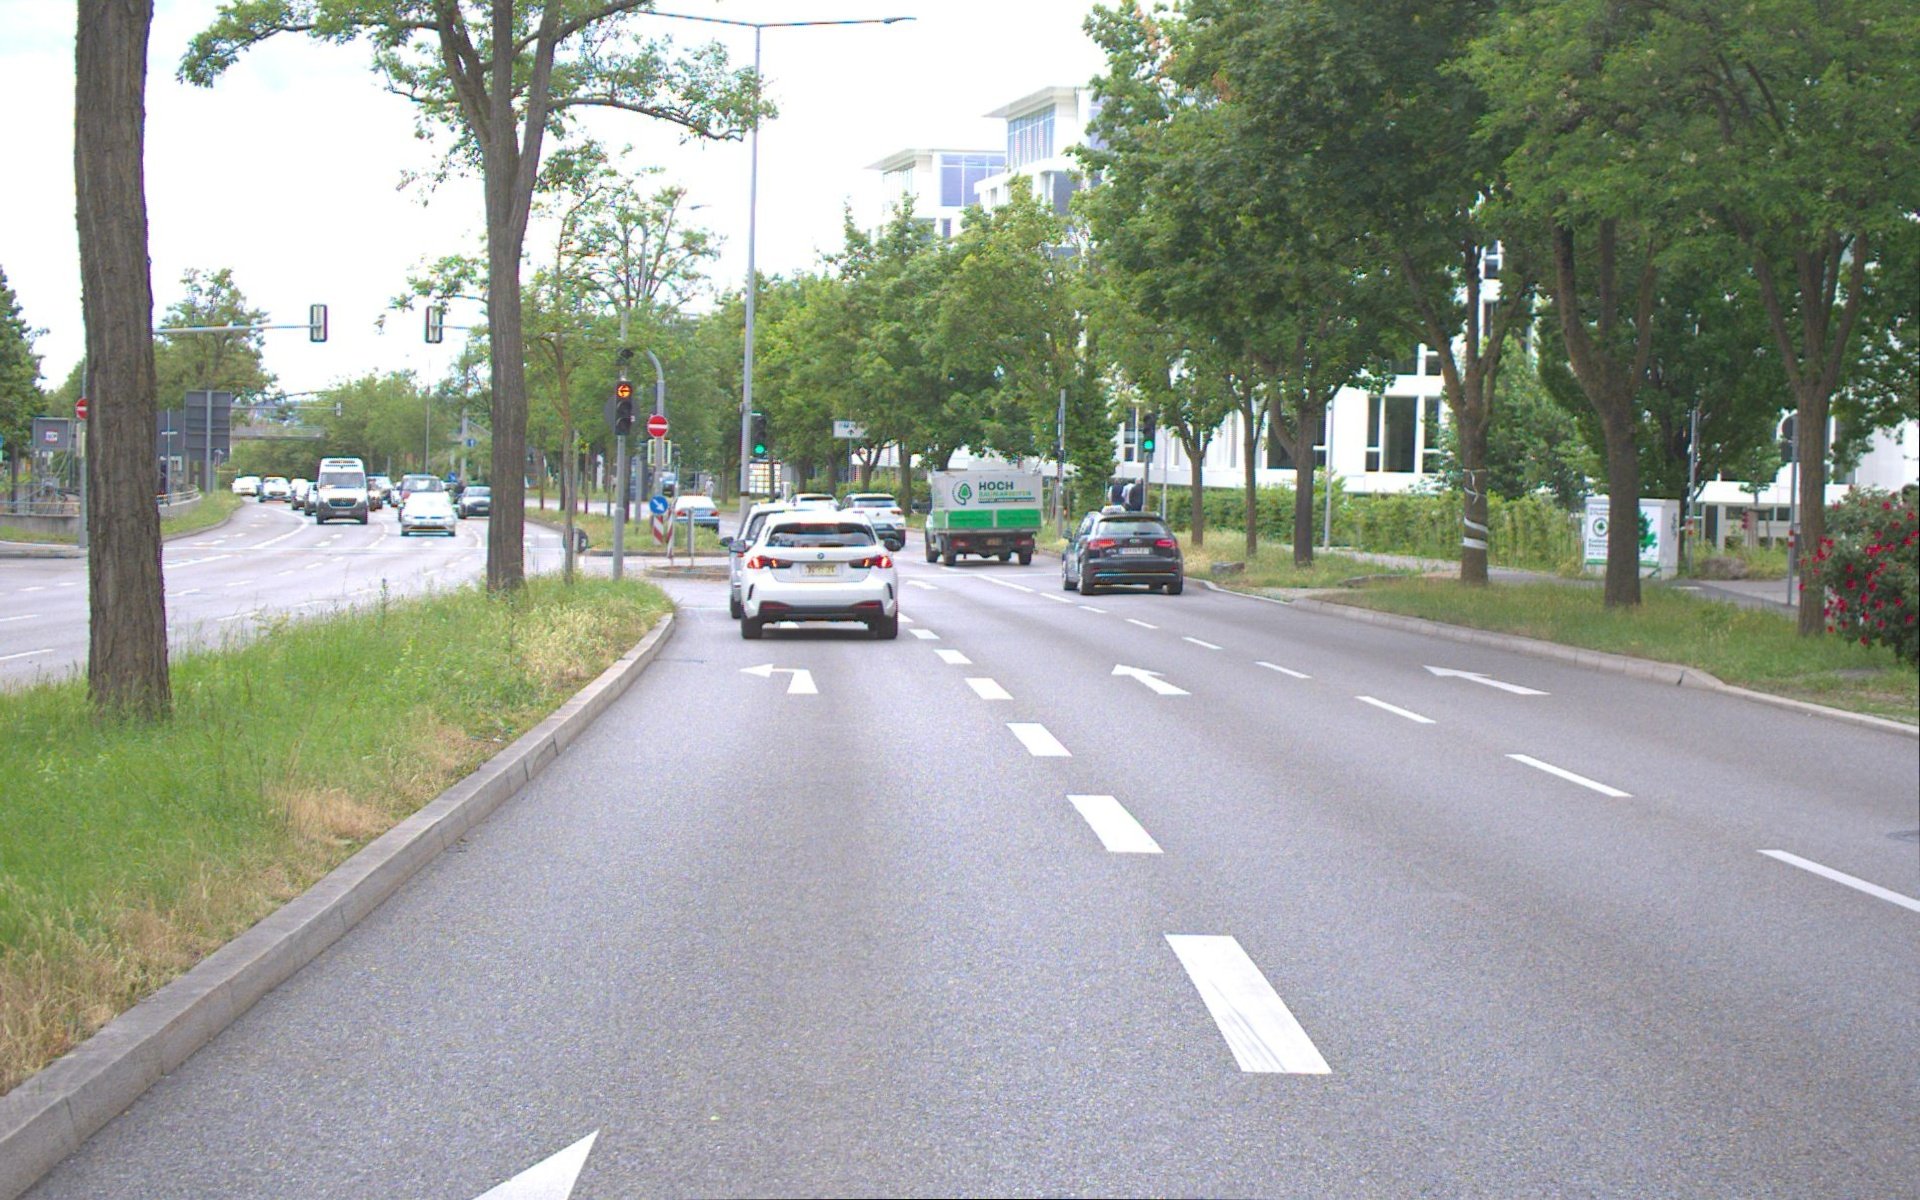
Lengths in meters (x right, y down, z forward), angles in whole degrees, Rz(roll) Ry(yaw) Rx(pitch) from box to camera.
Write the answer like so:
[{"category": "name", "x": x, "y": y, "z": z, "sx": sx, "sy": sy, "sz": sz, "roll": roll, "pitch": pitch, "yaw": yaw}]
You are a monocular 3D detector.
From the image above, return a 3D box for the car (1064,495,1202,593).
[{"category": "car", "x": 2.940, "y": -0.981, "z": 59.242, "sx": 1.993, "sy": 1.590, "sz": 4.001, "roll": 1, "pitch": 2, "yaw": -2}]

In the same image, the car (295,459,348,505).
[{"category": "car", "x": -29.811, "y": -5.515, "z": 160.665, "sx": 1.993, "sy": 2.004, "sz": 4.325, "roll": 3, "pitch": 1, "yaw": -6}]

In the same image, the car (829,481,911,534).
[{"category": "car", "x": -2.680, "y": -2.742, "z": 101.360, "sx": 1.993, "sy": 1.503, "sz": 4.001, "roll": 1, "pitch": 2, "yaw": -8}]

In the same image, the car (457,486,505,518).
[{"category": "car", "x": -21.150, "y": -4.324, "z": 151.905, "sx": 1.753, "sy": 1.366, "sz": 3.780, "roll": 0, "pitch": 2, "yaw": -3}]

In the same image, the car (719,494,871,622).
[{"category": "car", "x": -2.263, "y": -0.599, "z": 47.698, "sx": 1.993, "sy": 1.666, "sz": 4.001, "roll": 1, "pitch": 1, "yaw": -2}]

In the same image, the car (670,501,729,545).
[{"category": "car", "x": -9.340, "y": -2.765, "z": 123.066, "sx": 1.993, "sy": 1.485, "sz": 4.001, "roll": 2, "pitch": 2, "yaw": -5}]

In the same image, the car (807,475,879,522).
[{"category": "car", "x": -3.895, "y": -3.355, "z": 113.866, "sx": 1.993, "sy": 1.503, "sz": 4.001, "roll": 1, "pitch": 1, "yaw": -8}]

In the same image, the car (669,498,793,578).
[{"category": "car", "x": -4.502, "y": -1.230, "z": 68.221, "sx": 1.994, "sy": 1.503, "sz": 4.000, "roll": 1, "pitch": 1, "yaw": 3}]

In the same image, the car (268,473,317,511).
[{"category": "car", "x": -34.391, "y": -5.545, "z": 177.118, "sx": 1.993, "sy": 1.846, "sz": 4.325, "roll": 3, "pitch": 1, "yaw": -6}]

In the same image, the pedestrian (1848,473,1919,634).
[{"category": "pedestrian", "x": 10.554, "y": -0.540, "z": 39.028, "sx": 0.608, "sy": 1.769, "sz": 0.954, "roll": 1, "pitch": 3, "yaw": -2}]

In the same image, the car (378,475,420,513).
[{"category": "car", "x": -31.445, "y": -5.949, "z": 192.831, "sx": 1.993, "sy": 2.004, "sz": 4.325, "roll": 3, "pitch": 1, "yaw": -6}]

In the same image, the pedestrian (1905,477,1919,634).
[{"category": "pedestrian", "x": 11.229, "y": -0.494, "z": 39.076, "sx": 0.608, "sy": 1.769, "sz": 0.954, "roll": 1, "pitch": 3, "yaw": -2}]

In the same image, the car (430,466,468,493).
[{"category": "car", "x": -33.123, "y": -7.788, "z": 222.877, "sx": 1.993, "sy": 1.612, "sz": 4.001, "roll": 3, "pitch": 1, "yaw": -3}]

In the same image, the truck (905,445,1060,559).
[{"category": "truck", "x": 0.458, "y": -2.269, "z": 80.516, "sx": 2.859, "sy": 2.511, "sz": 6.289, "roll": 1, "pitch": 1, "yaw": -6}]

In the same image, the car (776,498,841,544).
[{"category": "car", "x": -5.188, "y": -2.701, "z": 117.183, "sx": 1.993, "sy": 1.485, "sz": 4.001, "roll": 2, "pitch": 2, "yaw": -5}]

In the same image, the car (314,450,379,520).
[{"category": "car", "x": -24.537, "y": -4.603, "z": 137.631, "sx": 1.993, "sy": 2.625, "sz": 5.876, "roll": 3, "pitch": 1, "yaw": -6}]

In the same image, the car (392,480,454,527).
[{"category": "car", "x": -17.887, "y": -3.229, "z": 114.617, "sx": 1.752, "sy": 1.439, "sz": 4.136, "roll": 3, "pitch": 1, "yaw": -6}]

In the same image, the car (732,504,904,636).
[{"category": "car", "x": -1.625, "y": -0.371, "z": 40.554, "sx": 1.863, "sy": 1.444, "sz": 4.000, "roll": 1, "pitch": 1, "yaw": -1}]
